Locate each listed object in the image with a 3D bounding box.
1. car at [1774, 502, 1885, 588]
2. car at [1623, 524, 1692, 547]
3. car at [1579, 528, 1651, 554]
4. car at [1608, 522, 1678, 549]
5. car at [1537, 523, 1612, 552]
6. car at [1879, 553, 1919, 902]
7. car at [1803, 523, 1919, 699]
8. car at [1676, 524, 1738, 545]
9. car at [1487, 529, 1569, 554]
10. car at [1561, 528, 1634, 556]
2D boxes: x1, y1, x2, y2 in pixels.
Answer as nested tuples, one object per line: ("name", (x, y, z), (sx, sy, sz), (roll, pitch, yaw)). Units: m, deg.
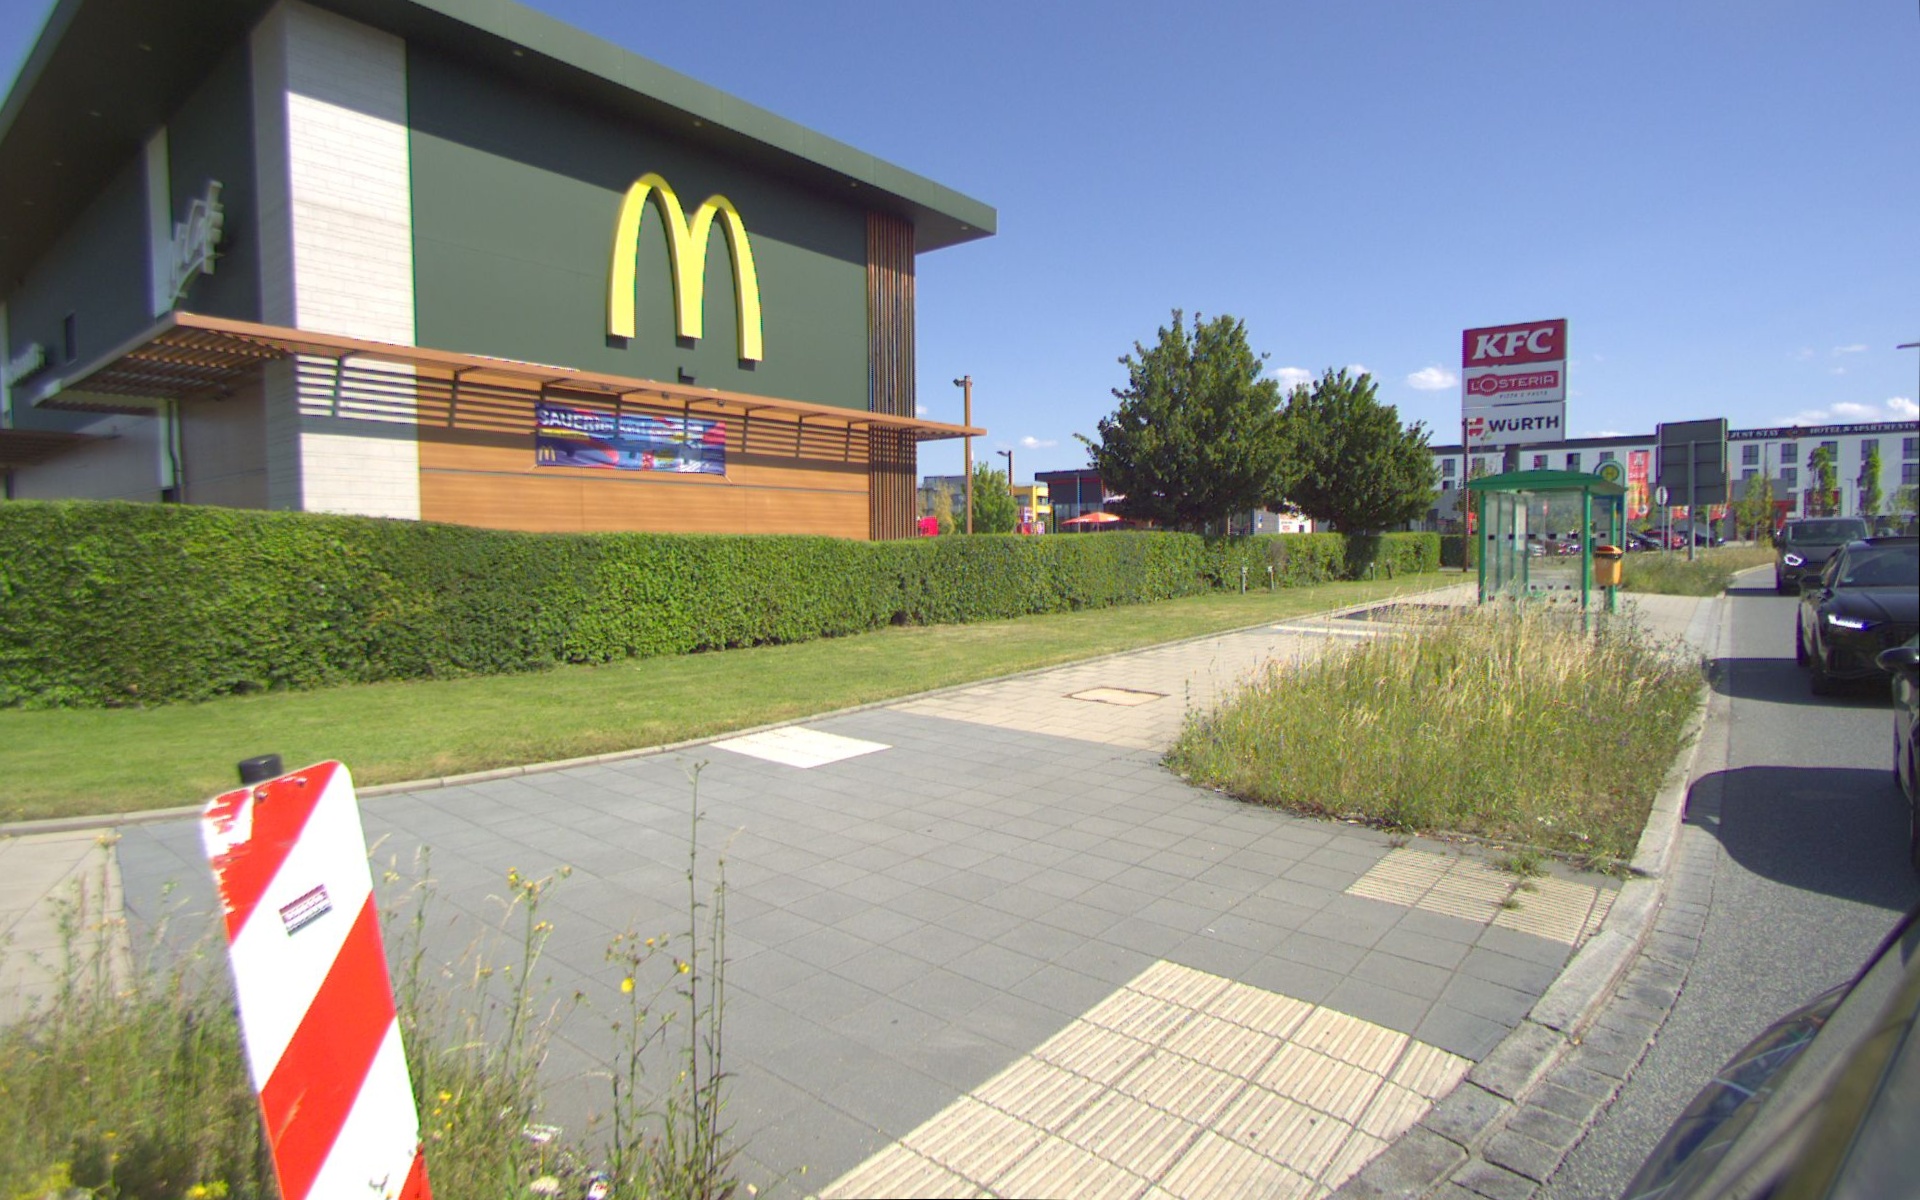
("car", (23.404, -1.493, 27.288), (2.072, 2.073, 4.616), (-2, 2, 41))
("car", (55.856, -5.134, 81.076), (1.789, 1.783, 4.190), (-3, 3, -33))
("car", (49.320, -4.454, 76.268), (1.768, 1.880, 4.190), (-2, 3, -33))
("car", (53.385, -5.056, 79.193), (1.899, 2.038, 4.185), (-3, 4, -38))
("car", (44.202, -4.462, 72.837), (1.898, 2.038, 4.186), (-3, 4, -37))
("car", (6.111, 0.518, 5.304), (1.856, 1.486, 3.941), (2, 4, 42))
("car", (10.734, 0.006, 11.347), (1.855, 1.709, 3.943), (-2, 2, 41))
("car", (61.899, -5.414, 83.873), (1.725, 1.639, 3.824), (-3, 4, -37))
("car", (38.172, -3.924, 68.076), (1.902, 1.672, 4.433), (-3, 4, -44))
("car", (47.238, -4.298, 75.104), (1.898, 2.038, 4.187), (-3, 4, -36))
